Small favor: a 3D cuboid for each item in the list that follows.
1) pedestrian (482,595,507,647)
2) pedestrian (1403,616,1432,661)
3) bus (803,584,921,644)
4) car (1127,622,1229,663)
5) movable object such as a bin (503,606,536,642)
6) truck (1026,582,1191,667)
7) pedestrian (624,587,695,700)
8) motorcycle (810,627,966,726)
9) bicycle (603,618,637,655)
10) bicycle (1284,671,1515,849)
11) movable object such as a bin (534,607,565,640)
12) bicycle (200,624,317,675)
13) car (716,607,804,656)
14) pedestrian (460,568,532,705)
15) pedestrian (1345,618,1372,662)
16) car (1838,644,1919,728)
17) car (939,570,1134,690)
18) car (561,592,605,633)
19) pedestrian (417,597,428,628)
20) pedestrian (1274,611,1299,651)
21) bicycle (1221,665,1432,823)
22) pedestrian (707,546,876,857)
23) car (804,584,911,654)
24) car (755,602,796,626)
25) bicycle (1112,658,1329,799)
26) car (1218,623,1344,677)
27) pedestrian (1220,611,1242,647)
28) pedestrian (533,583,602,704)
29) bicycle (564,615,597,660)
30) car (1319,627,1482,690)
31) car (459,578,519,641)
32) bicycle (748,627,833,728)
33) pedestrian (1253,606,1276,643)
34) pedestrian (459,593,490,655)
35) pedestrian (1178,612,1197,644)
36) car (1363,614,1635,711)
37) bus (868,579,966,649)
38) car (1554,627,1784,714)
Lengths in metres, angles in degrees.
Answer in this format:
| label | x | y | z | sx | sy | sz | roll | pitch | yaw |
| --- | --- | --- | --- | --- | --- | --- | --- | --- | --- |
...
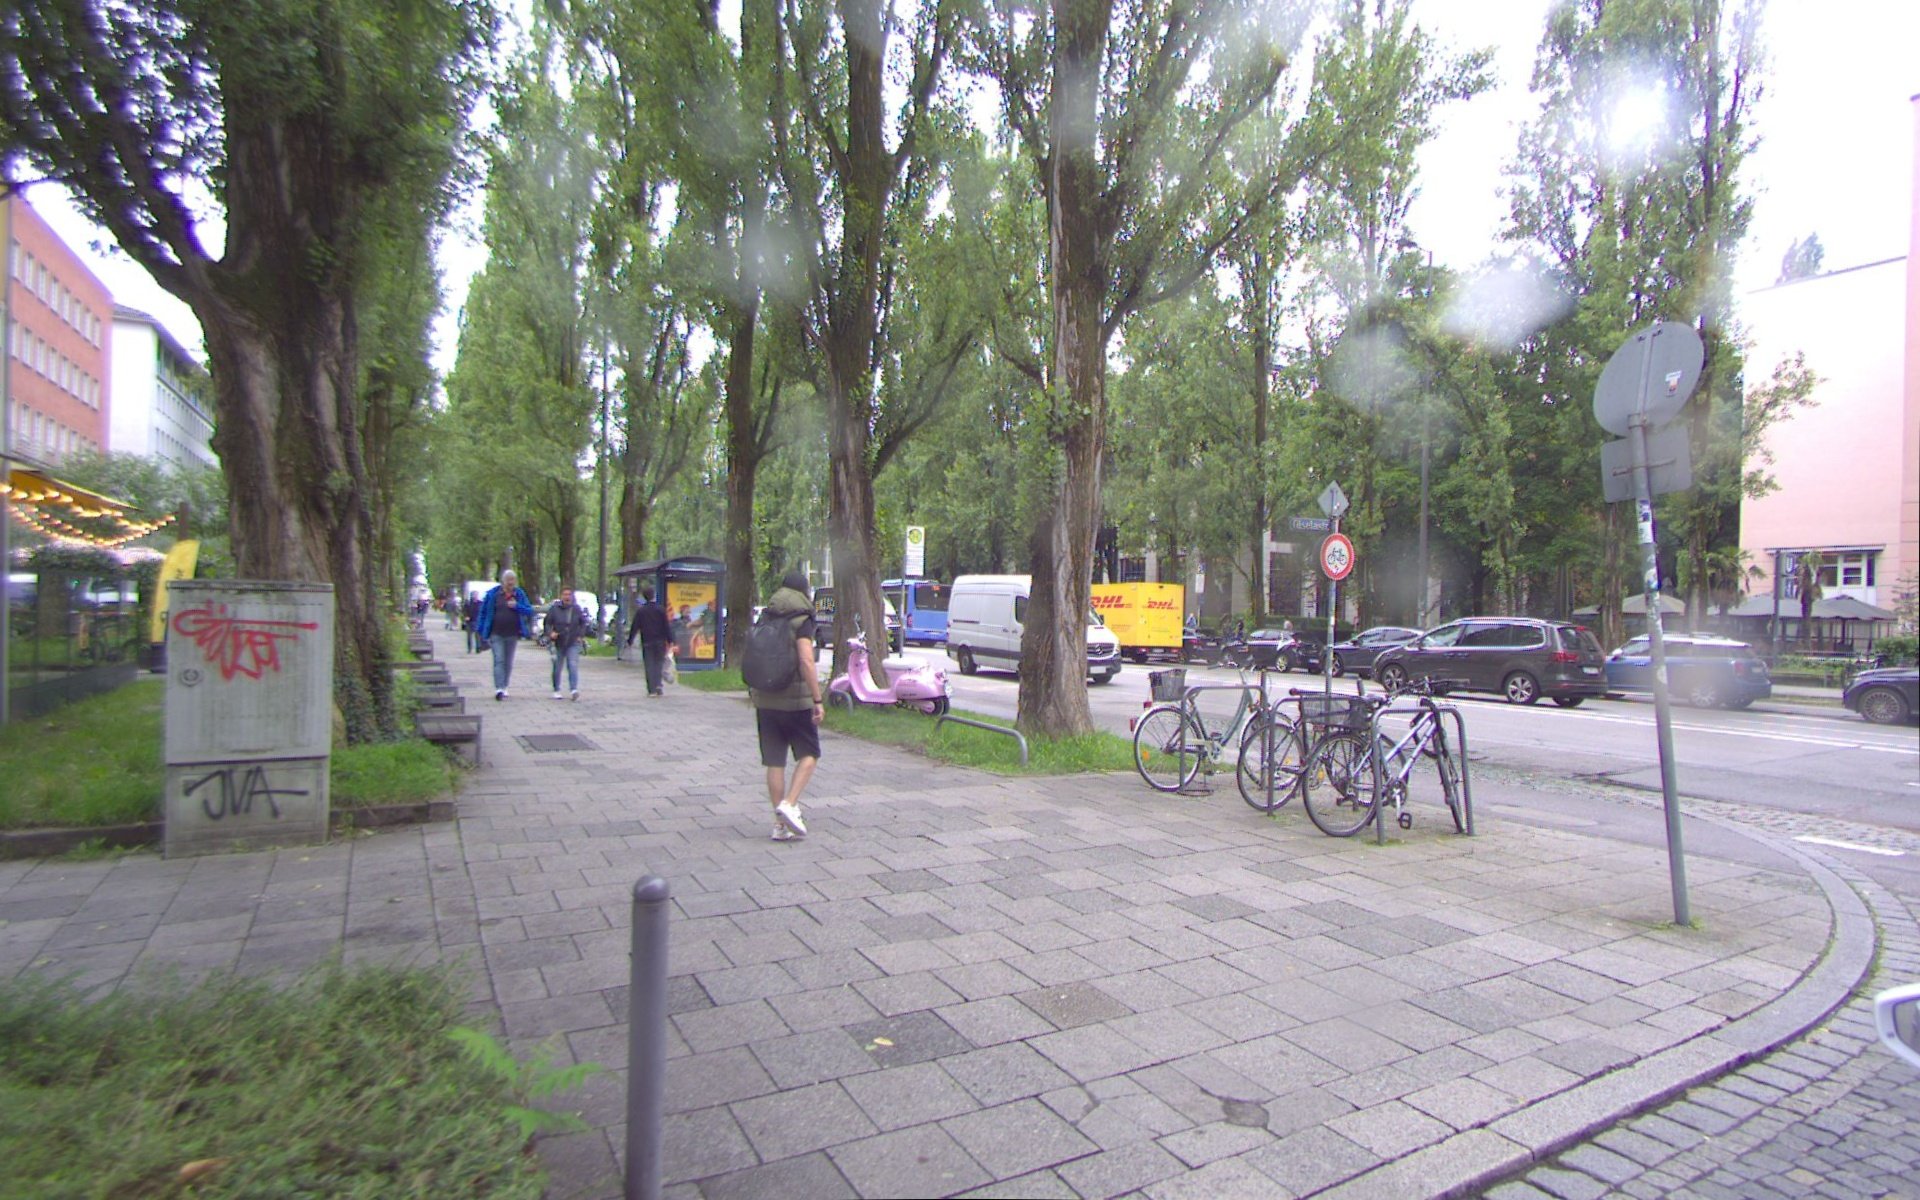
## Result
| label | x | y | z | sx | sy | sz | roll | pitch | yaw |
| --- | --- | --- | --- | --- | --- | --- | --- | --- | --- |
| pedestrian | -15.608 | 0.692 | 33.670 | 0.726 | 1.715 | 0.643 | 1 | 0 | -26 |
| pedestrian | 17.789 | 1.493 | 39.079 | 0.700 | 1.736 | 0.726 | 2 | 0 | -29 |
| bus | -5.768 | 0.798 | 56.997 | 2.892 | 3.092 | 9.718 | 1 | -1 | -30 |
| car | 8.331 | 1.602 | 38.681 | 1.772 | 1.431 | 3.852 | 2 | -1 | -29 |
| movable object such as a bin | -17.936 | 0.987 | 40.903 | 1.052 | 1.423 | 0.975 | 2 | -1 | -32 |
| truck | 5.485 | 0.869 | 38.493 | 2.569 | 2.946 | 7.028 | 2 | -1 | -28 |
| pedestrian | -4.792 | 0.672 | 16.009 | 0.849 | 1.734 | 0.951 | 1 | 0 | -31 |
| motorcycle | -0.951 | 0.985 | 13.323 | 1.951 | 1.211 | 0.630 | 1 | -1 | 17 |
| bicycle | -10.150 | 1.090 | 29.989 | 0.548 | 1.036 | 1.747 | 1 | 0 | -32 |
| bicycle | 3.101 | 1.069 | 7.044 | 1.680 | 1.108 | 0.488 | 2 | 0 | -25 |
| movable object such as a bin | -17.172 | 0.990 | 42.020 | 1.052 | 1.329 | 0.975 | 2 | -1 | -32 |
| bicycle | -13.412 | 0.948 | 19.269 | 1.782 | 0.925 | 0.615 | 2 | 0 | -32 |
| car | -7.202 | 1.085 | 35.893 | 1.988 | 1.601 | 3.970 | 2 | -1 | -28 |
| pedestrian | -6.797 | 0.524 | 14.716 | 0.635 | 1.933 | 0.701 | 1 | 0 | 37 |
| pedestrian | 16.134 | 1.613 | 40.676 | 0.700 | 1.736 | 0.726 | 2 | 0 | -29 |
| car | 19.455 | 1.673 | 18.605 | 1.772 | 1.549 | 4.480 | 2 | -1 | -29 |
| car | 1.741 | 0.681 | 25.589 | 2.022 | 2.687 | 5.995 | 0 | 0 | -29 |
| car | -26.014 | 0.842 | 69.183 | 1.988 | 2.667 | 5.953 | 2 | -1 | -29 |
| pedestrian | -29.995 | 0.714 | 56.049 | 0.498 | 1.715 | 0.518 | 1 | 0 | -26 |
| pedestrian | 14.570 | 1.377 | 44.816 | 0.700 | 1.736 | 0.726 | 2 | 0 | -29 |
| bicycle | 2.864 | 1.074 | 7.806 | 1.680 | 1.108 | 0.488 | 2 | 0 | -25 |
| pedestrian | -1.043 | 0.589 | 6.293 | 0.738 | 1.796 | 0.705 | 1 | 0 | 26 |
| car | -4.210 | 0.713 | 40.191 | 2.058 | 2.590 | 5.885 | 0 | 0 | -30 |
| car | -14.855 | 1.102 | 80.733 | 1.976 | 1.744 | 4.089 | 3 | -1 | -28 |
| bicycle | 2.290 | 1.074 | 8.746 | 1.957 | 1.108 | 0.488 | 2 | 0 | -25 |
| car | 10.772 | 1.656 | 33.957 | 1.772 | 1.431 | 3.851 | 3 | 1 | -29 |
| pedestrian | 13.256 | 1.416 | 49.176 | 0.700 | 1.736 | 0.726 | 1 | -1 | -29 |
| pedestrian | -5.832 | 0.630 | 14.940 | 0.635 | 1.750 | 0.701 | 1 | 0 | 37 |
| bicycle | -11.024 | 1.069 | 29.139 | 0.576 | 1.204 | 2.125 | 1 | -1 | -29 |
| car | 12.909 | 1.657 | 29.710 | 1.772 | 1.622 | 4.204 | 2 | -1 | -29 |
| car | -24.639 | 0.475 | 52.423 | 2.175 | 3.057 | 5.949 | 1 | -1 | -31 |
| bicycle | -2.255 | 0.981 | 13.197 | 0.576 | 1.204 | 1.603 | 1 | -1 | -29 |
| pedestrian | 14.435 | 1.147 | 47.594 | 0.700 | 1.736 | 0.726 | 2 | 0 | -29 |
| pedestrian | -13.643 | 0.669 | 28.224 | 0.726 | 1.715 | 0.643 | 1 | 0 | -26 |
| pedestrian | 12.672 | 1.558 | 55.937 | 0.700 | 1.736 | 0.726 | 2 | 0 | -29 |
| car | 11.235 | 1.235 | 21.343 | 1.976 | 1.744 | 4.779 | 3 | -1 | -28 |
| bus | -2.290 | 0.697 | 49.052 | 2.879 | 3.092 | 8.490 | 1 | -1 | -16 |
| car | 16.551 | 1.598 | 23.658 | 1.773 | 1.754 | 4.045 | 3 | -1 | -30 |
